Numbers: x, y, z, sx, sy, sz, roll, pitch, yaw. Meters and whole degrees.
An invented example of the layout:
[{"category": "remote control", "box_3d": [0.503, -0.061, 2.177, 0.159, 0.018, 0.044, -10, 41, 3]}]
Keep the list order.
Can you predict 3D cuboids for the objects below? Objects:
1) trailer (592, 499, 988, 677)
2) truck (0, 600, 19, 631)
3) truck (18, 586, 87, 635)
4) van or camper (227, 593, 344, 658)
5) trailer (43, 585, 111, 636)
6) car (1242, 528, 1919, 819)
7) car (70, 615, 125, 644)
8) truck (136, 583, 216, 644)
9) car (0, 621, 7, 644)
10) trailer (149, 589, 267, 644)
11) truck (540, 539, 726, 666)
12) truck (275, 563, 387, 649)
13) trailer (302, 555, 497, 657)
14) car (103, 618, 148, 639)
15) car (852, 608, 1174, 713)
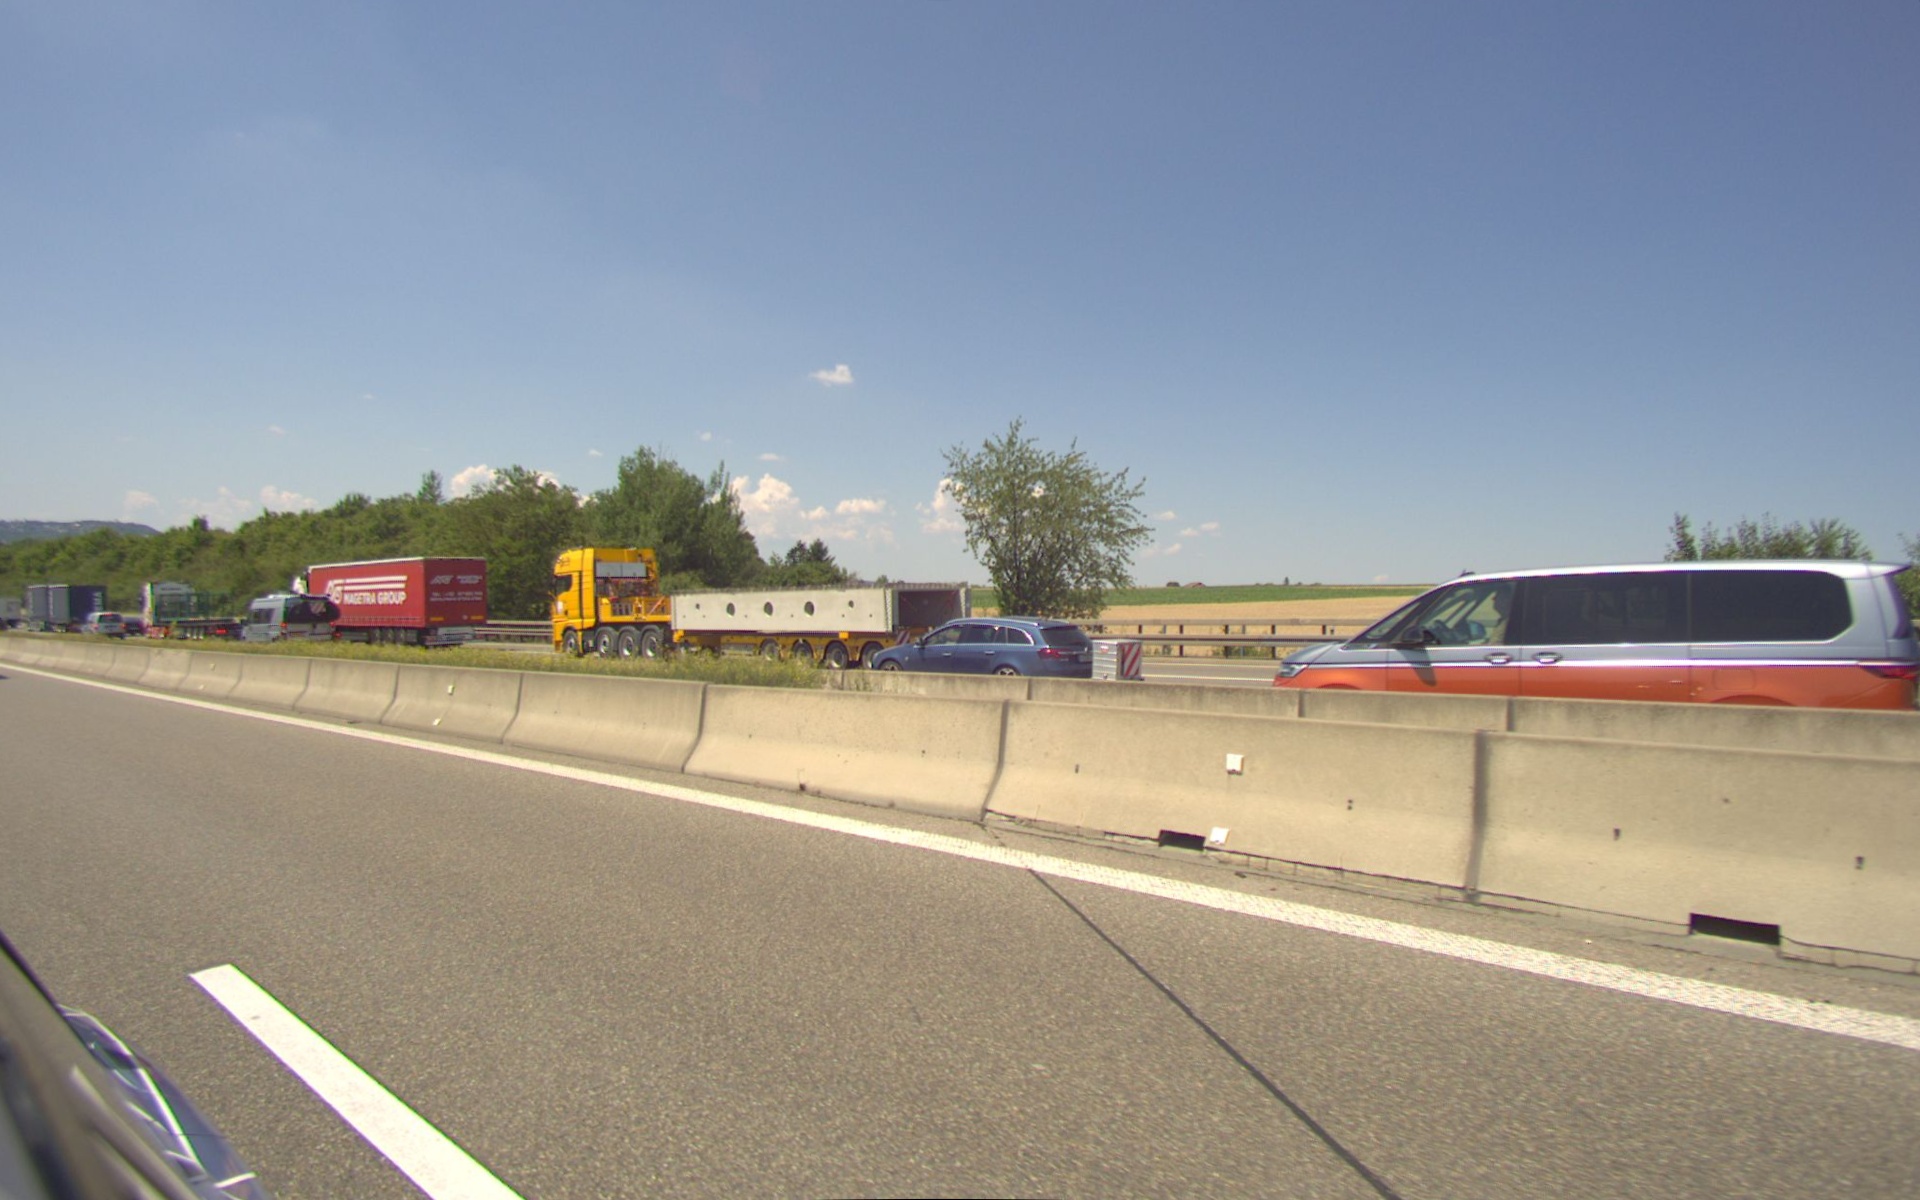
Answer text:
[{"category": "trailer", "box_3d": [-5.645, -0.146, 29.311, 14.375, 4.131, 2.922, -2, 0, 42]}, {"category": "truck", "box_3d": [-102.132, 1.638, 107.081, 7.576, 3.232, 2.515, -1, 0, 37]}, {"category": "truck", "box_3d": [-83.129, 0.976, 92.635, 10.719, 4.266, 2.972, -1, -1, 38]}, {"category": "van or camper", "box_3d": [-29.243, 1.068, 43.756, 7.137, 2.606, 2.288, -1, 0, 40]}, {"category": "trailer", "box_3d": [-75.564, 0.904, 86.586, 8.584, 4.224, 2.957, -1, -1, 39]}, {"category": "car", "box_3d": [5.507, 0.523, 9.053, 5.443, 1.985, 1.894, -1, 0, 40]}, {"category": "car", "box_3d": [-57.163, 1.933, 67.055, 4.756, 1.785, 1.895, -1, 0, 38]}, {"category": "truck", "box_3d": [-52.820, 0.867, 68.131, 6.170, 3.906, 2.873, -1, 0, 39]}, {"category": "car", "box_3d": [-73.057, 2.433, 75.578, 5.248, 1.708, 2.029, -1, 0, 38]}, {"category": "trailer", "box_3d": [-47.737, 1.041, 63.991, 12.767, 3.230, 2.830, -1, 0, 39]}, {"category": "truck", "box_3d": [-11.180, 0.128, 34.240, 7.095, 3.866, 2.722, -2, 0, 42]}, {"category": "truck", "box_3d": [-32.199, 0.327, 51.724, 6.309, 4.112, 3.005, -1, 0, 40]}, {"category": "trailer", "box_3d": [-26.186, 0.325, 46.682, 14.371, 4.131, 3.054, -1, 0, 41]}, {"category": "car", "box_3d": [-62.673, 2.112, 75.961, 4.641, 1.442, 1.641, -1, 0, 38]}, {"category": "car", "box_3d": [0.759, 0.979, 17.960, 5.738, 1.553, 1.894, -1, 0, 40]}]
